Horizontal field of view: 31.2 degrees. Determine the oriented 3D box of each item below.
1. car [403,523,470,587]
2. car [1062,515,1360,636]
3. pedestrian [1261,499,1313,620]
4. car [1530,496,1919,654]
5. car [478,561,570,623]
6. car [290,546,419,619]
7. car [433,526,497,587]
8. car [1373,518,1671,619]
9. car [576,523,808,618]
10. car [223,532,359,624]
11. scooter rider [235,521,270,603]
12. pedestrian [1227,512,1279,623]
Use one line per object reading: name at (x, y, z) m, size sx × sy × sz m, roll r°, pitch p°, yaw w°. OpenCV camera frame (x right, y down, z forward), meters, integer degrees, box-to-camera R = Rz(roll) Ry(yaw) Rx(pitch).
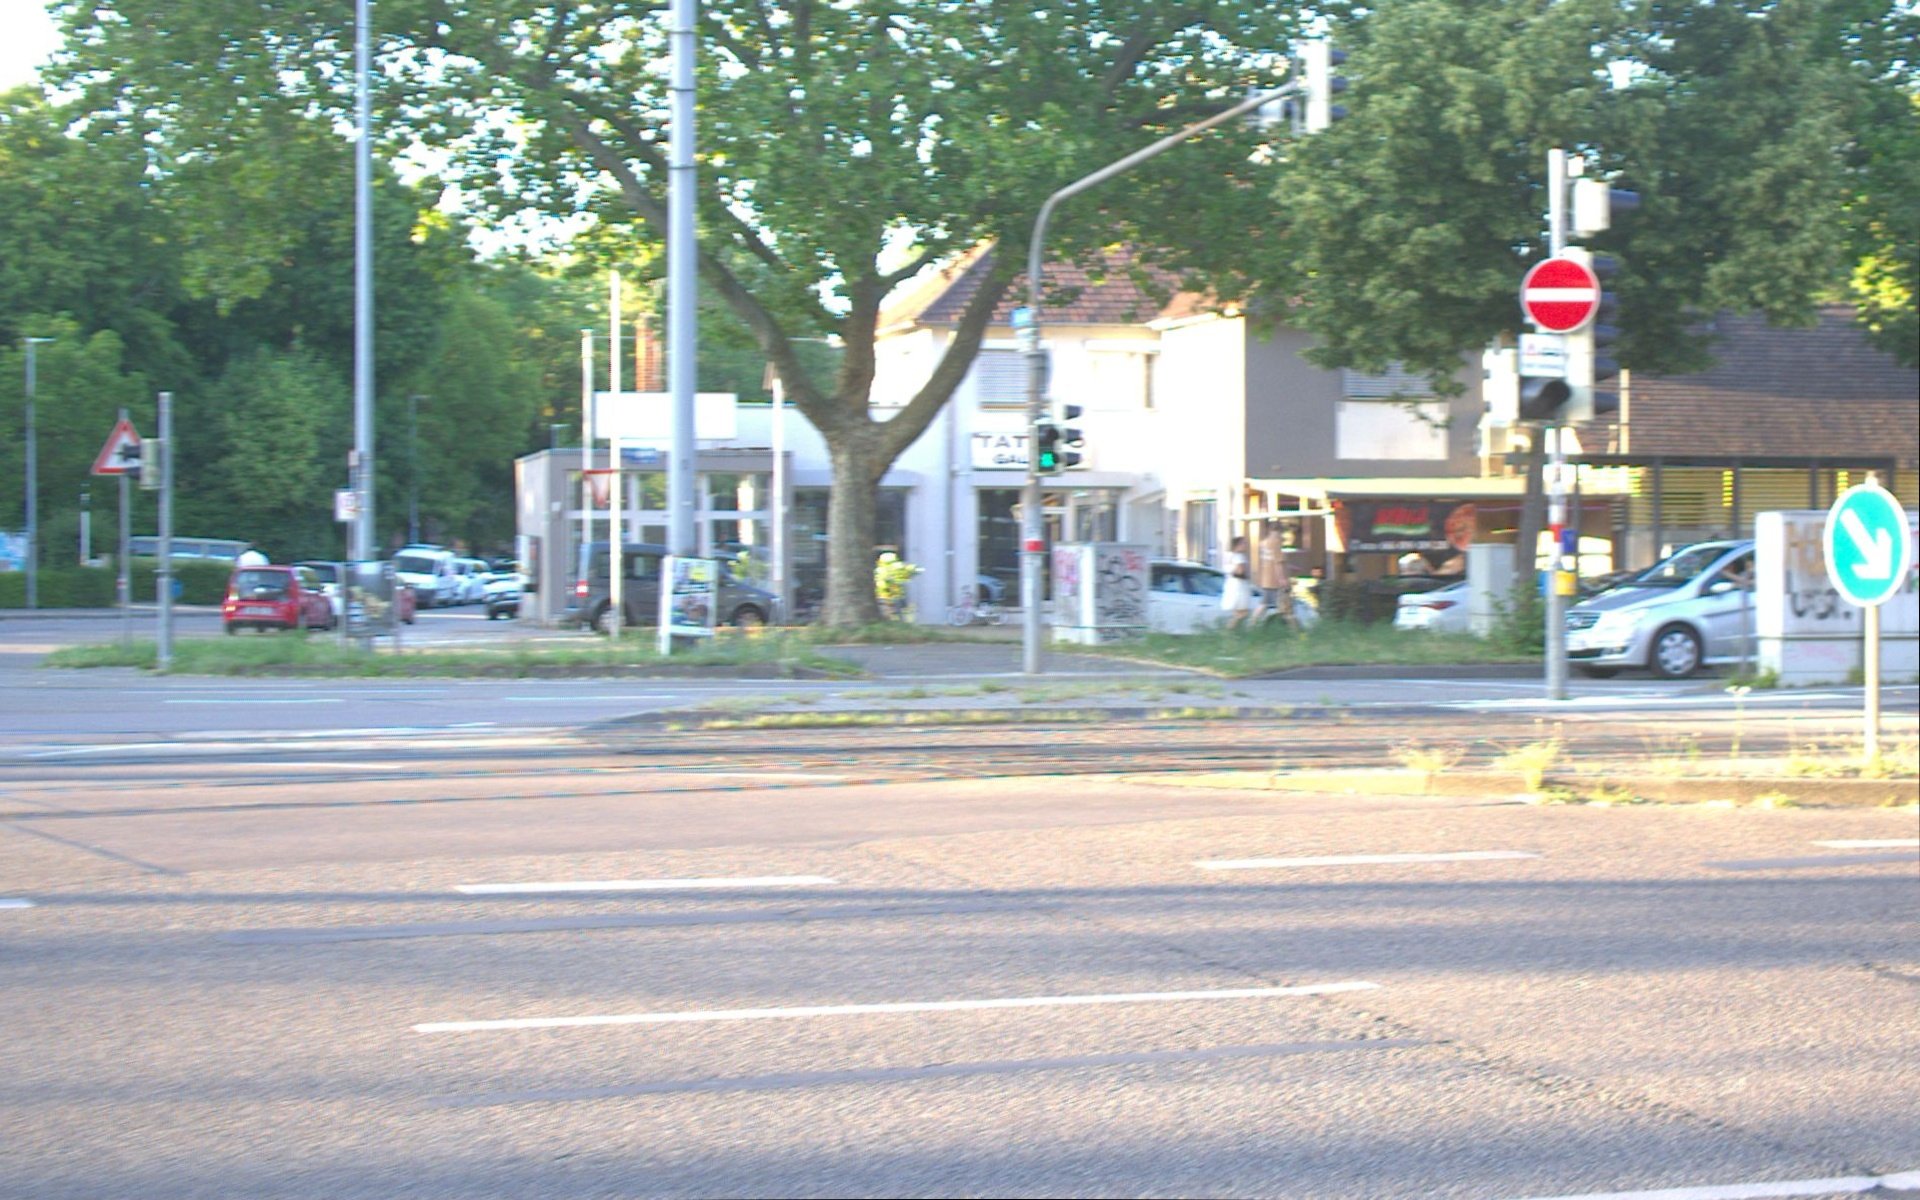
car at (-16.608, -1.438, 108.949) m, size 1.993 × 2.007 × 4.001 m, roll 0°, pitch 1°, yaw -10°
car at (3.912, -0.389, 53.784) m, size 4.229 × 1.840 × 2.001 m, roll 0°, pitch 1°, yaw -14°
pedestrian at (4.752, -0.592, 49.916) m, size 0.718 × 1.748 × 0.897 m, roll 0°, pitch 1°, yaw 7°
car at (8.945, -0.294, 39.047) m, size 4.532 × 1.722 × 1.862 m, roll 0°, pitch 1°, yaw -21°
car at (-11.824, -0.235, 93.379) m, size 1.915 × 1.597 × 4.000 m, roll 0°, pitch 1°, yaw 1°
car at (-13.487, -0.417, 76.831) m, size 1.994 × 1.568 × 4.000 m, roll 0°, pitch 1°, yaw 3°
car at (-16.396, -1.456, 113.786) m, size 1.993 × 2.007 × 4.001 m, roll 0°, pitch 1°, yaw -10°
car at (8.943, -0.506, 54.831) m, size 4.229 × 1.572 × 2.001 m, roll 0°, pitch 1°, yaw -14°
car at (-5.347, -0.596, 68.247) m, size 4.376 × 1.828 × 1.949 m, roll 0°, pitch 1°, yaw -12°
car at (-14.112, -0.491, 72.747) m, size 1.868 × 1.868 × 3.874 m, roll 0°, pitch 1°, yaw 4°
scooter rider at (-16.086, -0.865, 78.175) m, size 0.702 × 1.848 × 0.669 m, roll 0°, pitch 0°, yaw -17°
pedestrian at (4.349, -0.490, 50.978) m, size 0.718 × 1.633 × 0.897 m, roll 0°, pitch 1°, yaw 7°
